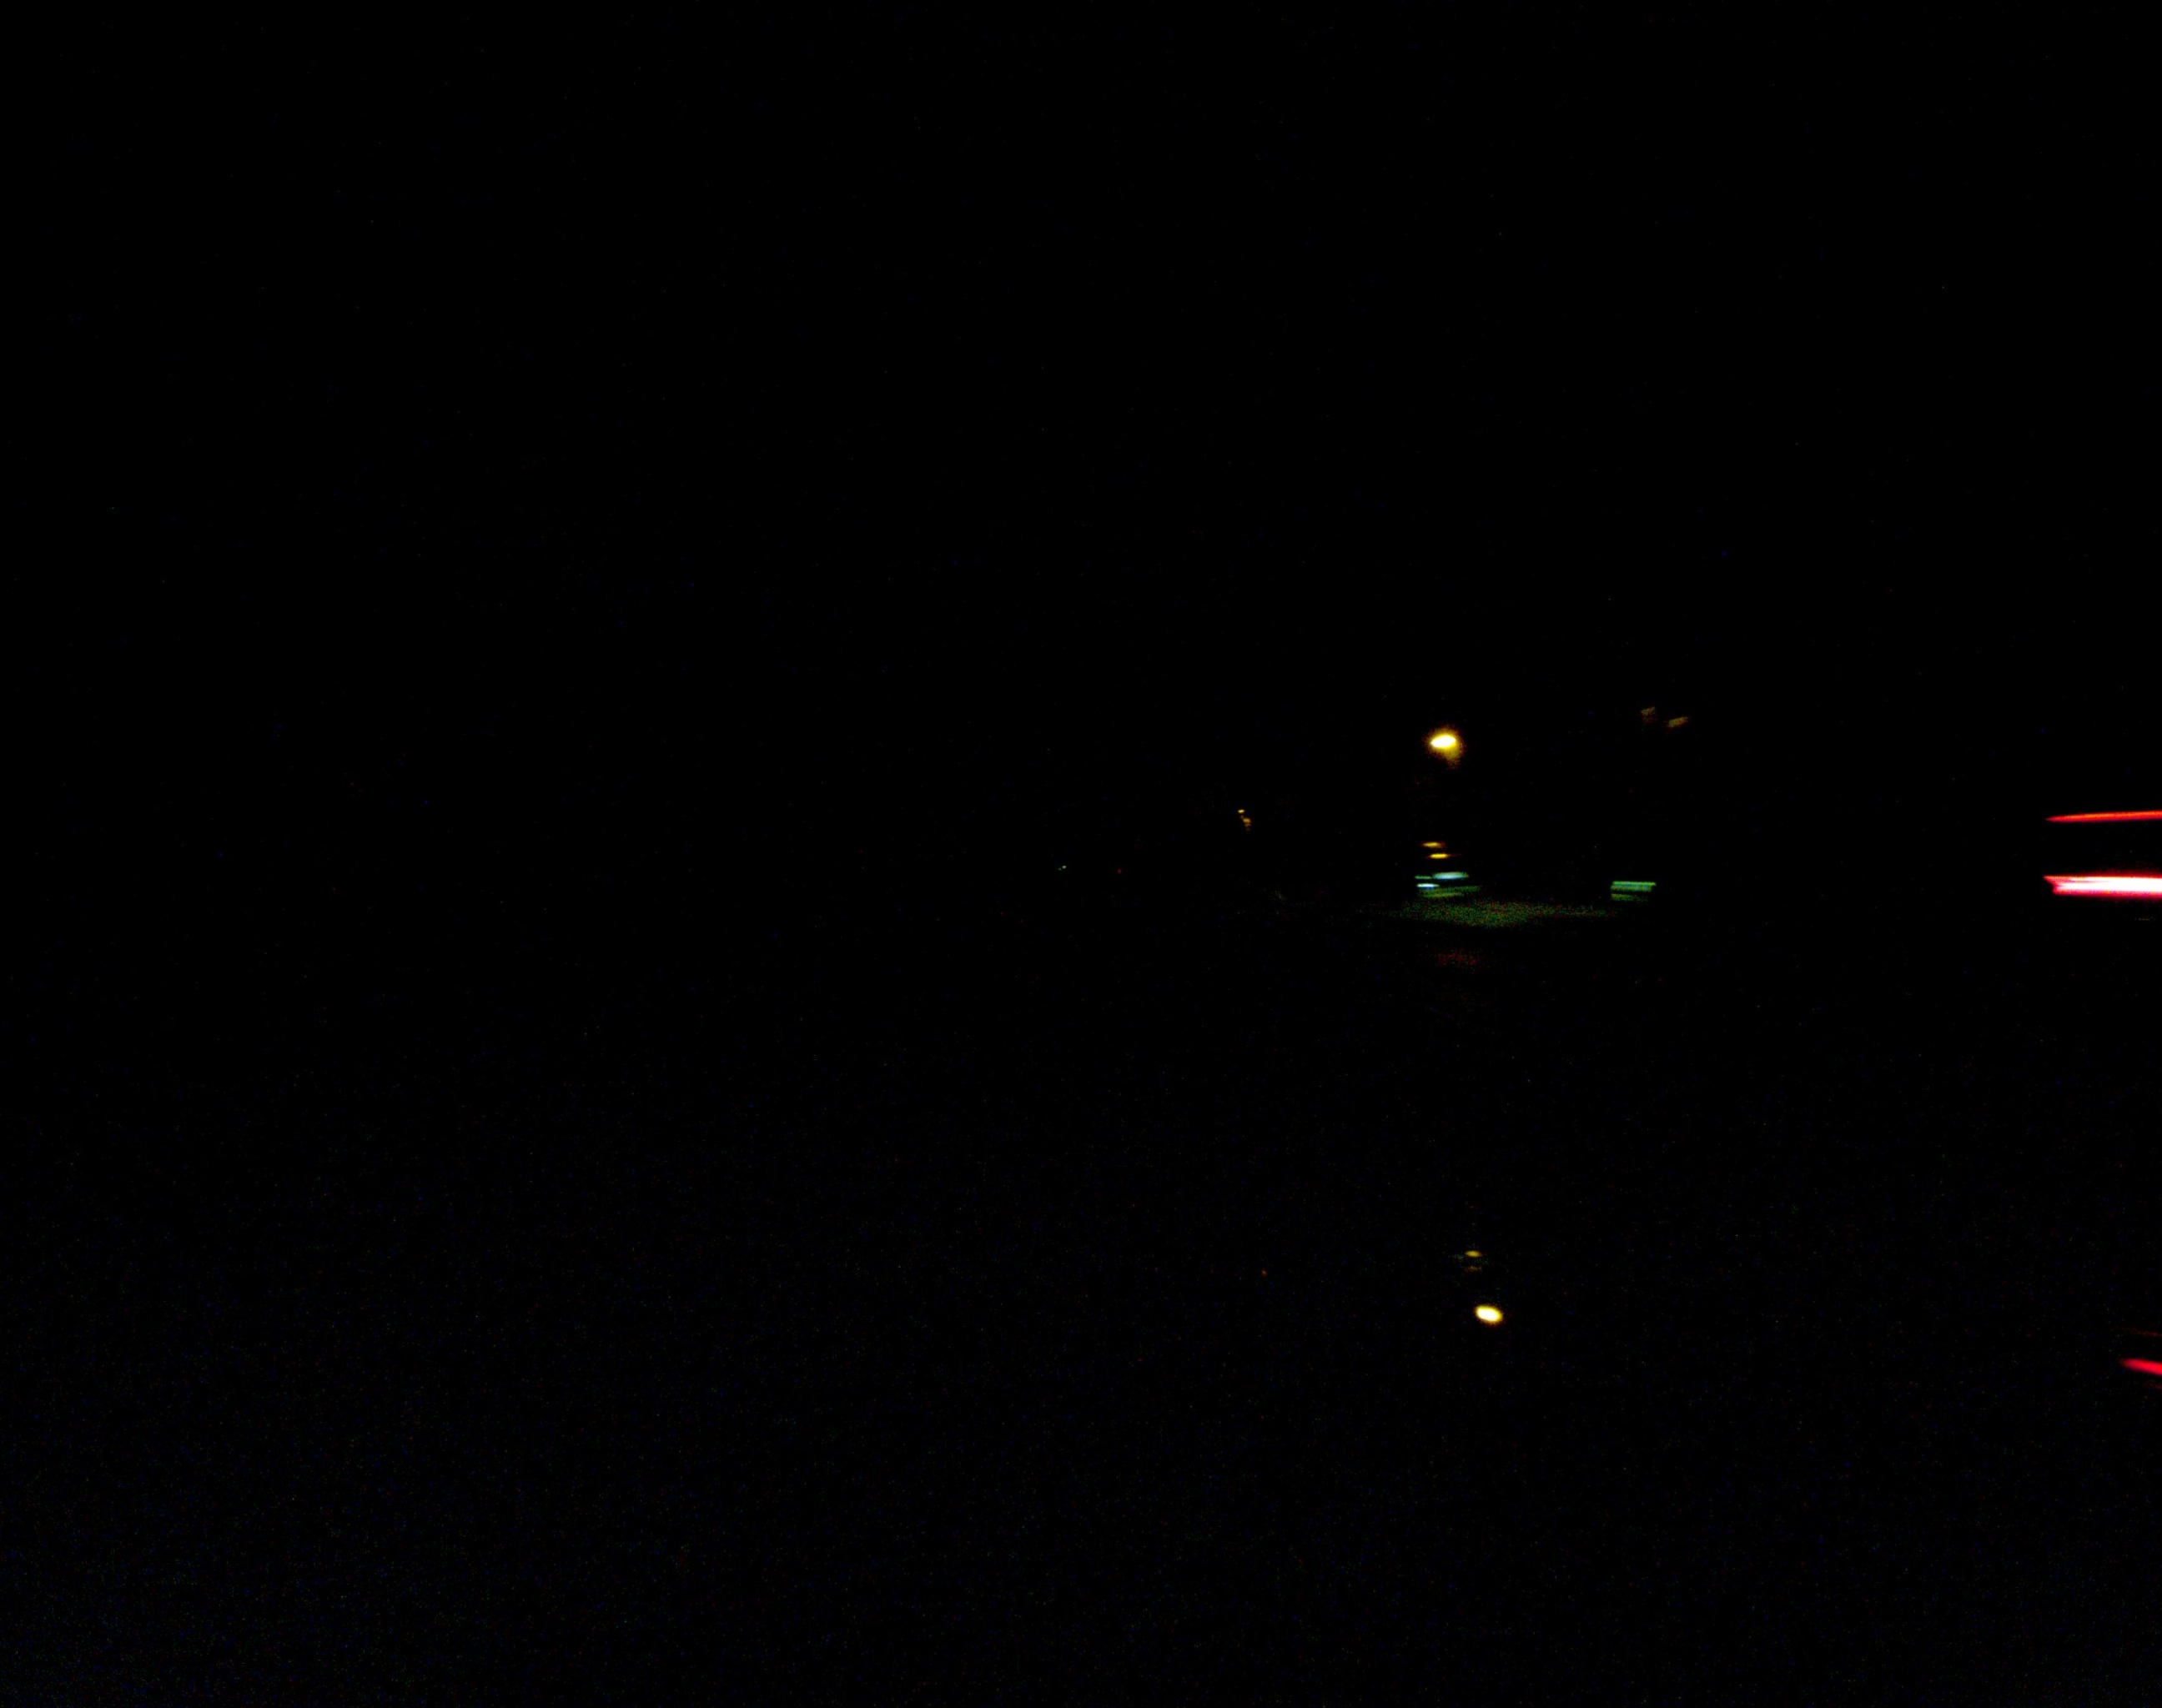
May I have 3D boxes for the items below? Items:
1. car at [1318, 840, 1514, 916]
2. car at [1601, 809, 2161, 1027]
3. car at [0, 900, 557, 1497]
[{"bbox_3d":[7.325,0.482,17.255,1.999,1.371,4.596,-4,0,-6],"label":"car"},{"bbox_3d":[7.981,0.411,7.558,1.854,1.436,4.914,-4,0,-6],"label":"car"},{"bbox_3d":[-4.048,1.084,2.236,1.999,1.543,4.326,-4,0,-2],"label":"car"}]
